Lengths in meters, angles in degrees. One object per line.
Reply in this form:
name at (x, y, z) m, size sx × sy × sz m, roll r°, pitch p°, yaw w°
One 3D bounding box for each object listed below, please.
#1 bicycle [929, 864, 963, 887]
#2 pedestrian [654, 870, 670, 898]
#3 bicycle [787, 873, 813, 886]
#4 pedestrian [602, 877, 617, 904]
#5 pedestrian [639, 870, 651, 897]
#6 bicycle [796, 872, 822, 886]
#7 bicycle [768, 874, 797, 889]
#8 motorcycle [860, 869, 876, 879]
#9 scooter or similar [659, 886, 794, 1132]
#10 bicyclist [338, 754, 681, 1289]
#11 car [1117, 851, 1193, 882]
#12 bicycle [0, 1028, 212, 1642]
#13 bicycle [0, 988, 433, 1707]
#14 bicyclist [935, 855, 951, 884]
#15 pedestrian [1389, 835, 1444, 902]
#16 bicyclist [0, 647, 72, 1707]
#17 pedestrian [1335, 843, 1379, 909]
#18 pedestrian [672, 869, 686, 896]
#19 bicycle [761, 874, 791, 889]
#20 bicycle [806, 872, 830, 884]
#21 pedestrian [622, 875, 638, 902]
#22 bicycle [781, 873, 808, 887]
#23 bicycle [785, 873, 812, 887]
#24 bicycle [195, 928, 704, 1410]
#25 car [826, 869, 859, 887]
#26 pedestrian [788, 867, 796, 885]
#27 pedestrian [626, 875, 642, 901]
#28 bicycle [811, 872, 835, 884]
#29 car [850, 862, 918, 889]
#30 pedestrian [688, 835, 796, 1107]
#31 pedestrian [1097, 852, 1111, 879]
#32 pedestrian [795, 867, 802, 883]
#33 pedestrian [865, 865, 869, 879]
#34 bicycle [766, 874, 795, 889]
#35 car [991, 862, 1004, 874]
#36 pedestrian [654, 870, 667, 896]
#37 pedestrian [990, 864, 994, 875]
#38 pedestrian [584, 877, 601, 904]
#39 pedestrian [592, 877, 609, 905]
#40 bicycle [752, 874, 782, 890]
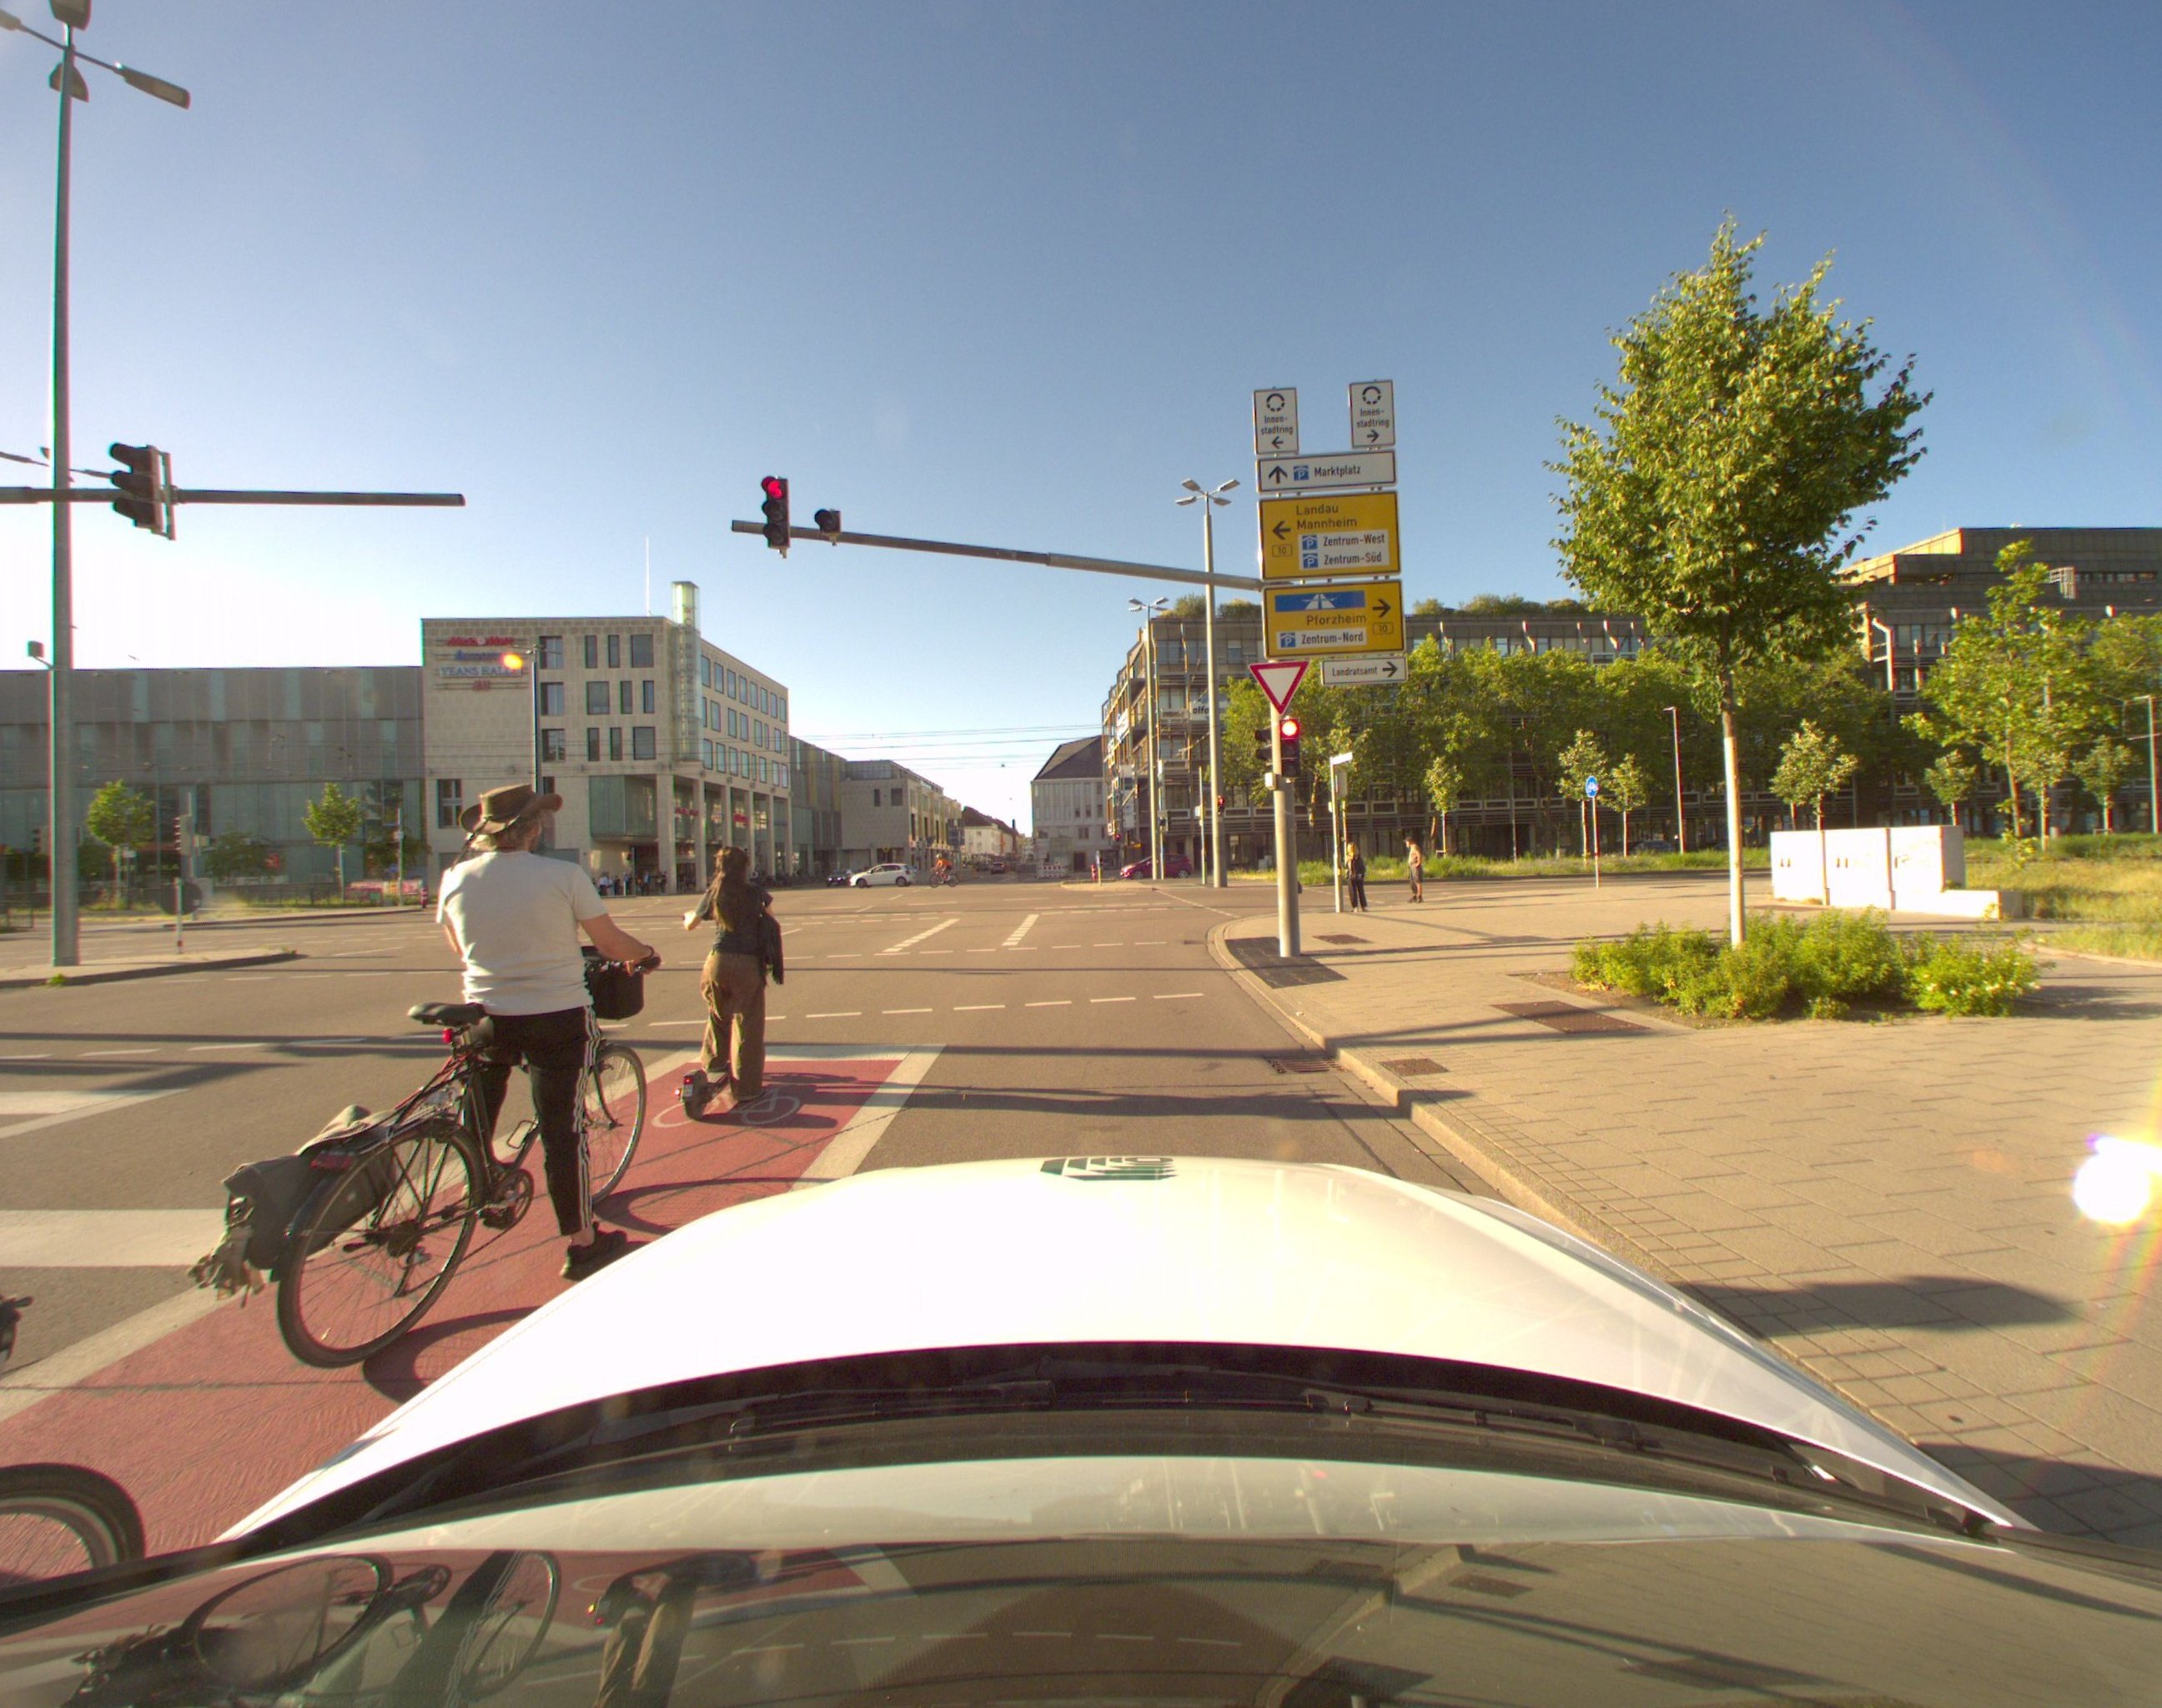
bicycle at (-6.863, 1.086, 41.376) m, size 1.651 × 1.154 × 0.493 m, roll 0°, pitch -1°, yaw -22°
pedestrian at (-31.202, 2.226, 60.631) m, size 0.883 × 2.014 × 0.771 m, roll 0°, pitch -1°, yaw -9°
bicycle at (-27.634, 2.494, 80.128) m, size 2.299 × 1.222 × 0.612 m, roll -2°, pitch 0°, yaw -1°
pedestrian at (-33.996, 2.617, 58.722) m, size 0.714 × 1.885 × 0.786 m, roll 0°, pitch -1°, yaw -6°
pedestrian at (-31.156, 2.087, 58.154) m, size 0.718 × 1.885 × 0.781 m, roll 0°, pitch -1°, yaw -25°
bicycle at (-27.190, 2.501, 81.345) m, size 2.299 × 1.222 × 0.612 m, roll -2°, pitch 0°, yaw -1°
bicycle at (-26.745, 2.428, 72.898) m, size 2.299 × 1.222 × 0.612 m, roll -2°, pitch 0°, yaw -1°
motorcycle at (-25.788, 2.420, 98.741) m, size 1.807 × 1.206 × 0.509 m, roll 0°, pitch 0°, yaw -14°
scooter or similar at (-2.158, 0.870, 5.078) m, size 0.547 × 1.294 × 1.188 m, roll 0°, pitch -1°, yaw -13°
bicyclist at (-2.057, 0.543, 3.064) m, size 0.658 × 1.720 × 0.866 m, roll 0°, pitch -1°, yaw 1°
car at (4.084, 0.681, 45.081) m, size 3.882 × 1.585 × 1.655 m, roll -2°, pitch -1°, yaw -7°
bicycle at (-2.423, 0.982, 0.983) m, size 0.645 × 1.109 × 1.970 m, roll 0°, pitch 0°, yaw -1°
bicycle at (-1.538, 0.869, 0.631) m, size 0.614 × 1.218 × 1.831 m, roll 0°, pitch 0°, yaw -1°
bicyclist at (-7.003, 0.768, 41.320) m, size 0.714 × 1.437 × 0.493 m, roll 0°, pitch -1°, yaw -21°
pedestrian at (8.656, 0.363, 21.048) m, size 0.881 × 1.665 × 0.958 m, roll 0°, pitch -1°, yaw -19°
bicyclist at (-1.544, 0.557, 0.545) m, size 0.639 × 1.579 × 0.875 m, roll 0°, pitch 0°, yaw -1°
pedestrian at (6.307, 0.499, 18.658) m, size 0.785 × 1.492 × 0.644 m, roll 0°, pitch -1°, yaw 1°
pedestrian at (-29.110, 2.059, 58.942) m, size 0.801 × 1.843 × 0.855 m, roll -2°, pitch 0°, yaw -30°
bicycle at (-26.467, 2.408, 70.653) m, size 2.299 × 1.222 × 0.612 m, roll -2°, pitch 0°, yaw -1°
bicycle at (-27.593, 2.539, 85.583) m, size 2.299 × 1.222 × 0.612 m, roll -2°, pitch 0°, yaw -1°
pedestrian at (-31.950, 2.444, 57.694) m, size 0.783 × 1.885 × 0.716 m, roll 0°, pitch -1°, yaw -4°
bicycle at (-26.702, 2.453, 75.965) m, size 2.299 × 1.222 × 0.612 m, roll -2°, pitch 0°, yaw -1°
bicycle at (-27.068, 2.474, 78.133) m, size 2.299 × 1.222 × 0.612 m, roll -2°, pitch 0°, yaw -1°
bicycle at (-2.149, 0.943, 3.141) m, size 0.483 × 1.156 × 1.832 m, roll 0°, pitch -1°, yaw 2°
car at (-20.629, 2.043, 70.510) m, size 1.625 × 1.342 × 3.999 m, roll -4°, pitch -1°, yaw 0°
pedestrian at (-29.032, 2.214, 81.873) m, size 0.650 × 1.719 × 0.447 m, roll -2°, pitch 0°, yaw -22°
pedestrian at (-32.516, 2.461, 59.245) m, size 0.783 × 1.885 × 0.716 m, roll 0°, pitch -1°, yaw -4°
bicycle at (-27.429, 2.546, 86.649) m, size 2.299 × 1.222 × 0.612 m, roll -2°, pitch 0°, yaw -1°
car at (-12.213, 1.325, 50.739) m, size 3.892 × 1.585 × 1.656 m, roll 0°, pitch -1°, yaw -5°
pedestrian at (-2.164, 0.705, 5.246) m, size 0.549 × 1.633 × 0.569 m, roll 0°, pitch -1°, yaw -13°
pedestrian at (1.660, 0.823, 58.941) m, size 0.636 × 1.890 × 0.795 m, roll -1°, pitch -1°, yaw 34°
pedestrian at (-29.883, 2.258, 86.025) m, size 0.570 × 1.679 × 0.614 m, roll 0°, pitch 0°, yaw -8°
pedestrian at (-26.108, 2.181, 99.357) m, size 0.521 × 1.679 × 0.580 m, roll 0°, pitch 0°, yaw -12°
bicycle at (-26.570, 2.420, 72.013) m, size 2.299 × 1.222 × 0.612 m, roll -2°, pitch 0°, yaw -1°
car at (-11.144, 1.848, 108.658) m, size 1.735 × 1.531 × 3.848 m, roll 0°, pitch -1°, yaw -5°
pedestrian at (-30.830, 2.112, 59.738) m, size 0.800 × 1.843 × 0.856 m, roll -2°, pitch 0°, yaw -26°
pedestrian at (-12.838, 2.229, 117.627) m, size 0.520 × 1.679 × 0.582 m, roll 0°, pitch 0°, yaw -5°
pedestrian at (-35.048, 2.590, 58.439) m, size 0.783 × 1.885 × 0.716 m, roll 0°, pitch -1°, yaw -4°
pedestrian at (-33.873, 2.605, 57.375) m, size 0.783 × 1.885 × 0.716 m, roll 0°, pitch -1°, yaw -4°
bicycle at (-26.738, 2.400, 69.376) m, size 2.299 × 1.222 × 0.612 m, roll -2°, pitch 0°, yaw -1°
